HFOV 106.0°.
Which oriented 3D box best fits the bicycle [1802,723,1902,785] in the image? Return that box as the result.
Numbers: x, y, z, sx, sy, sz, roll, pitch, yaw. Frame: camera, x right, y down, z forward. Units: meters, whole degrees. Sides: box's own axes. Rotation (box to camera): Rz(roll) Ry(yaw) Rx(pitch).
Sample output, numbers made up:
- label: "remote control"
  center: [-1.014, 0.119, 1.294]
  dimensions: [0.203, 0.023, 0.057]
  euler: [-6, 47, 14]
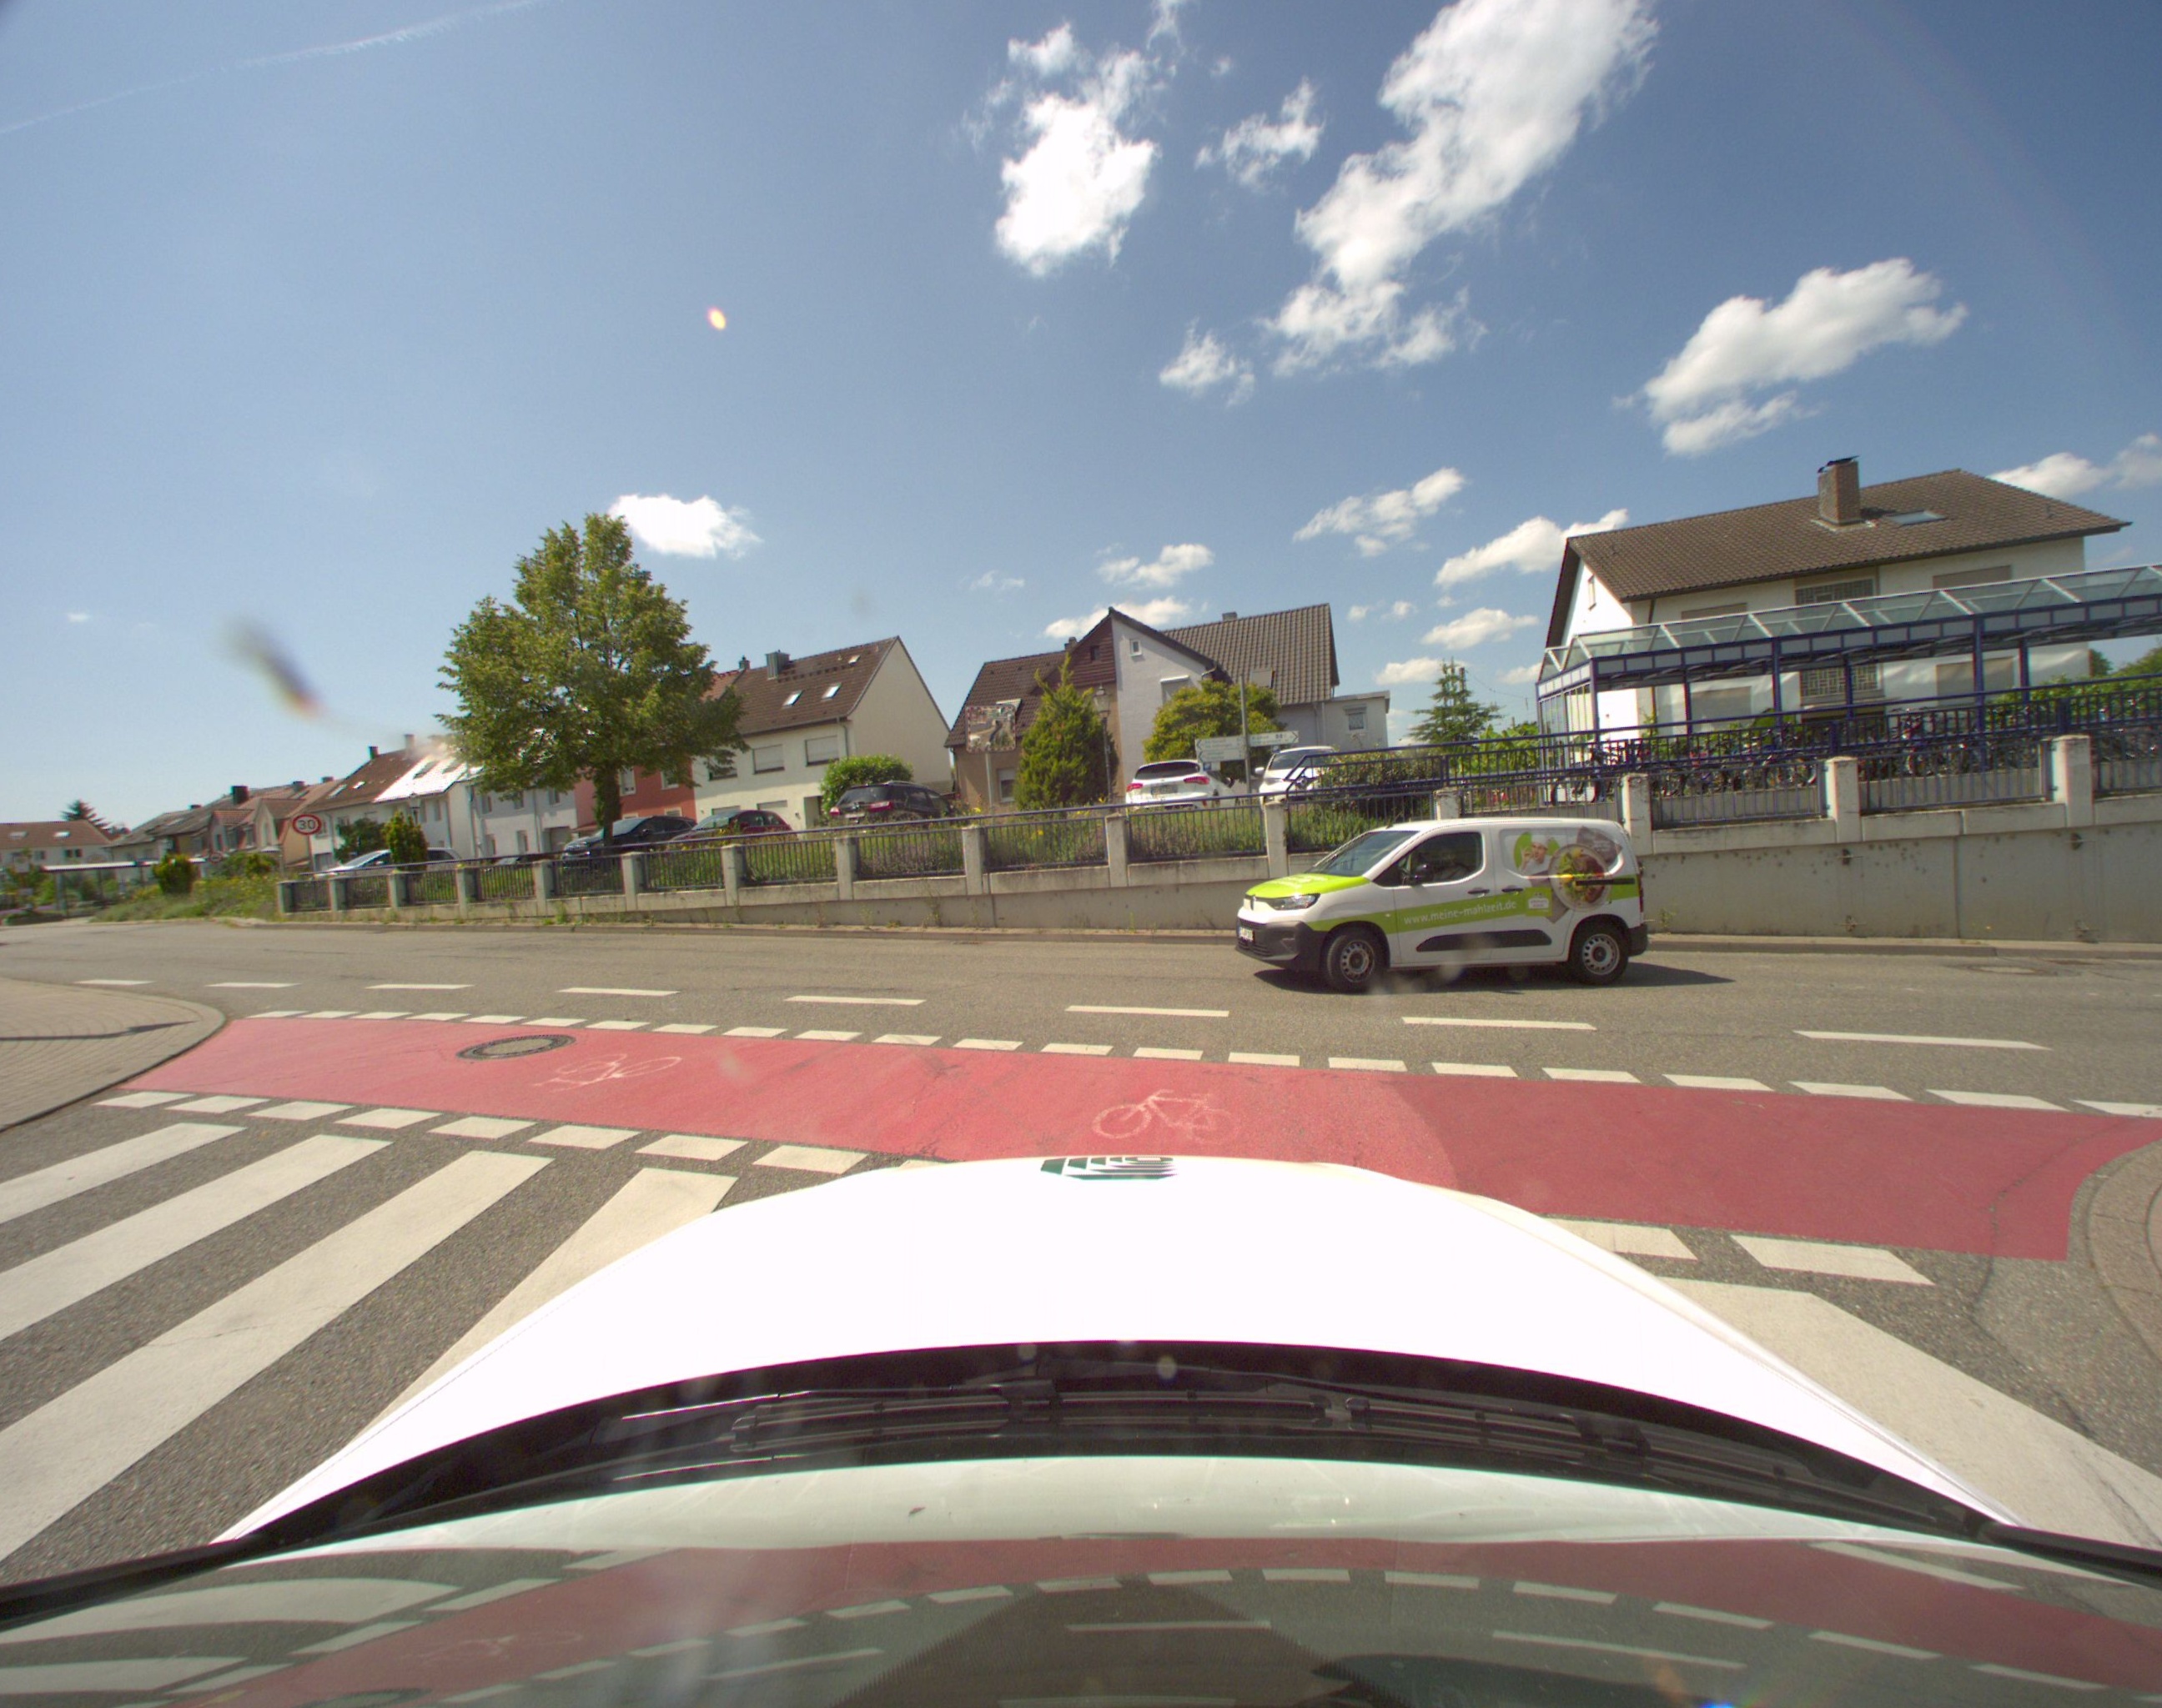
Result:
- label: "bicycle"
  center: [14.557, -1.858, 15.447]
  dimensions: [0.411, 0.994, 1.973]
  euler: [-3, 2, 13]

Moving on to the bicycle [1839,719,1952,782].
- label: "bicycle"
  center: [15.255, -1.901, 15.314]
  dimensions: [0.515, 0.994, 1.973]
  euler: [-3, 2, 13]

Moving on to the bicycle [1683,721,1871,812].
- label: "bicycle"
  center: [9.965, -1.238, 11.712]
  dimensions: [2.100, 1.125, 0.394]
  euler: [-3, 2, 12]

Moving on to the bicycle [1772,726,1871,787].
- label: "bicycle"
  center: [14.099, -1.831, 15.568]
  dimensions: [0.470, 0.994, 1.973]
  euler: [-3, 2, 13]

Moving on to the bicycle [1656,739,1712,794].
- label: "bicycle"
  center: [12.008, -1.714, 16.262]
  dimensions: [0.369, 0.994, 1.977]
  euler: [-3, 2, 22]

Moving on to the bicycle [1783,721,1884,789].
- label: "bicycle"
  center: [12.685, -1.635, 13.807]
  dimensions: [0.431, 0.994, 2.294]
  euler: [-3, 2, 21]

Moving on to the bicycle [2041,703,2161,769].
- label: "bicycle"
  center: [18.495, -2.099, 14.643]
  dimensions: [0.515, 0.994, 1.973]
  euler: [-3, 2, 13]

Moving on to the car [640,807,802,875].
- label: "car"
  center: [-9.185, -0.347, 21.123]
  dimensions: [1.852, 1.586, 3.627]
  euler: [0, 1, 18]

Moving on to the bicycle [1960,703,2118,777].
- label: "bicycle"
  center: [15.667, -1.825, 13.405]
  dimensions: [0.528, 0.994, 2.197]
  euler: [-3, 2, 15]

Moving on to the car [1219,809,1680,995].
- label: "car"
  center: [4.030, 0.439, 9.293]
  dimensions: [4.540, 1.854, 1.814]
  euler: [0, 1, -7]

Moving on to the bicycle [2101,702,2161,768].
- label: "bicycle"
  center: [17.302, -1.916, 12.850]
  dimensions: [0.511, 0.994, 2.050]
  euler: [-3, 2, 20]

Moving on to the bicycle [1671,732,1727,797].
- label: "bicycle"
  center: [10.520, -1.490, 13.916]
  dimensions: [0.431, 0.994, 2.116]
  euler: [-3, 2, 29]

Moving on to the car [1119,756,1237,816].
- label: "car"
  center: [2.151, -1.372, 17.225]
  dimensions: [1.810, 1.019, 3.476]
  euler: [0, 1, 18]

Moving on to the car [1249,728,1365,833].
- label: "car"
  center: [4.660, -1.326, 16.433]
  dimensions: [1.977, 1.797, 4.217]
  euler: [0, 1, 18]

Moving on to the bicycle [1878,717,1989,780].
- label: "bicycle"
  center: [15.936, -1.947, 15.285]
  dimensions: [0.515, 0.994, 1.808]
  euler: [-3, 2, 13]

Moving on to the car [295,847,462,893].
- label: "car"
  center: [-25.555, 0.522, 29.816]
  dimensions: [1.726, 1.488, 4.281]
  euler: [0, 1, 25]

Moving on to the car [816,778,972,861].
- label: "car"
  center: [-4.400, -0.786, 19.832]
  dimensions: [1.852, 1.797, 4.019]
  euler: [0, 1, 18]

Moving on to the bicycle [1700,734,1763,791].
- label: "bicycle"
  center: [12.661, -1.745, 15.897]
  dimensions: [0.369, 0.994, 1.977]
  euler: [-3, 2, 22]

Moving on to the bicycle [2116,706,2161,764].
- label: "bicycle"
  center: [19.590, -2.163, 14.360]
  dimensions: [0.515, 0.994, 1.973]
  euler: [-3, 2, 13]

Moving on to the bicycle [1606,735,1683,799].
- label: "bicycle"
  center: [9.981, -1.508, 14.504]
  dimensions: [0.329, 0.994, 2.083]
  euler: [-3, 2, 12]

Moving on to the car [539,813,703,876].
- label: "car"
  center: [-12.655, -0.286, 22.637]
  dimensions: [1.852, 1.586, 3.627]
  euler: [0, 1, 18]

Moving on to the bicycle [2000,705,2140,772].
- label: "bicycle"
  center: [17.912, -2.066, 14.821]
  dimensions: [0.515, 0.994, 1.973]
  euler: [-3, 2, 13]

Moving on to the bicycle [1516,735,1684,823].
- label: "bicycle"
  center: [7.724, -1.102, 12.177]
  dimensions: [2.100, 1.125, 0.334]
  euler: [-3, 2, 12]

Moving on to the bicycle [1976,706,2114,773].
- label: "bicycle"
  center: [17.308, -2.019, 14.694]
  dimensions: [0.515, 0.994, 1.973]
  euler: [-3, 2, 13]

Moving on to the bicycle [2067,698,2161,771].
- label: "bicycle"
  center: [16.489, -1.855, 12.699]
  dimensions: [0.573, 0.994, 2.201]
  euler: [-3, 2, 27]

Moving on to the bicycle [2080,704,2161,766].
- label: "bicycle"
  center: [19.057, -2.131, 14.482]
  dimensions: [0.515, 0.994, 1.973]
  euler: [-3, 2, 13]

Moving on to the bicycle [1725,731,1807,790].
- label: "bicycle"
  center: [13.315, -1.790, 15.894]
  dimensions: [0.423, 0.994, 1.975]
  euler: [-3, 2, 16]

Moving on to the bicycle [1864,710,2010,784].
- label: "bicycle"
  center: [13.956, -1.706, 13.375]
  dimensions: [0.528, 0.994, 2.291]
  euler: [-3, 2, 15]

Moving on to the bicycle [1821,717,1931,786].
- label: "bicycle"
  center: [13.240, -1.667, 13.645]
  dimensions: [0.431, 0.994, 2.294]
  euler: [-3, 2, 21]

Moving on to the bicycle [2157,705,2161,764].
- label: "bicycle"
  center: [17.988, -1.959, 12.728]
  dimensions: [0.511, 0.994, 2.051]
  euler: [-3, 2, 26]

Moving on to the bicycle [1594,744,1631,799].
- label: "bicycle"
  center: [10.476, -1.602, 16.085]
  dimensions: [0.451, 0.994, 1.900]
  euler: [-3, 2, 29]

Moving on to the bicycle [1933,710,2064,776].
- label: "bicycle"
  center: [16.580, -1.973, 14.784]
  dimensions: [0.515, 0.994, 1.973]
  euler: [-3, 2, 13]

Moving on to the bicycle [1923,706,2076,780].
- label: "bicycle"
  center: [14.946, -1.773, 13.342]
  dimensions: [0.528, 0.994, 2.197]
  euler: [-3, 2, 15]

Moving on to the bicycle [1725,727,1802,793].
- label: "bicycle"
  center: [11.550, -1.558, 13.837]
  dimensions: [0.431, 0.994, 2.115]
  euler: [-3, 2, 25]

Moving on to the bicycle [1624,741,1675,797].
- label: "bicycle"
  center: [11.178, -1.649, 16.056]
  dimensions: [0.369, 0.994, 1.977]
  euler: [-3, 2, 22]
